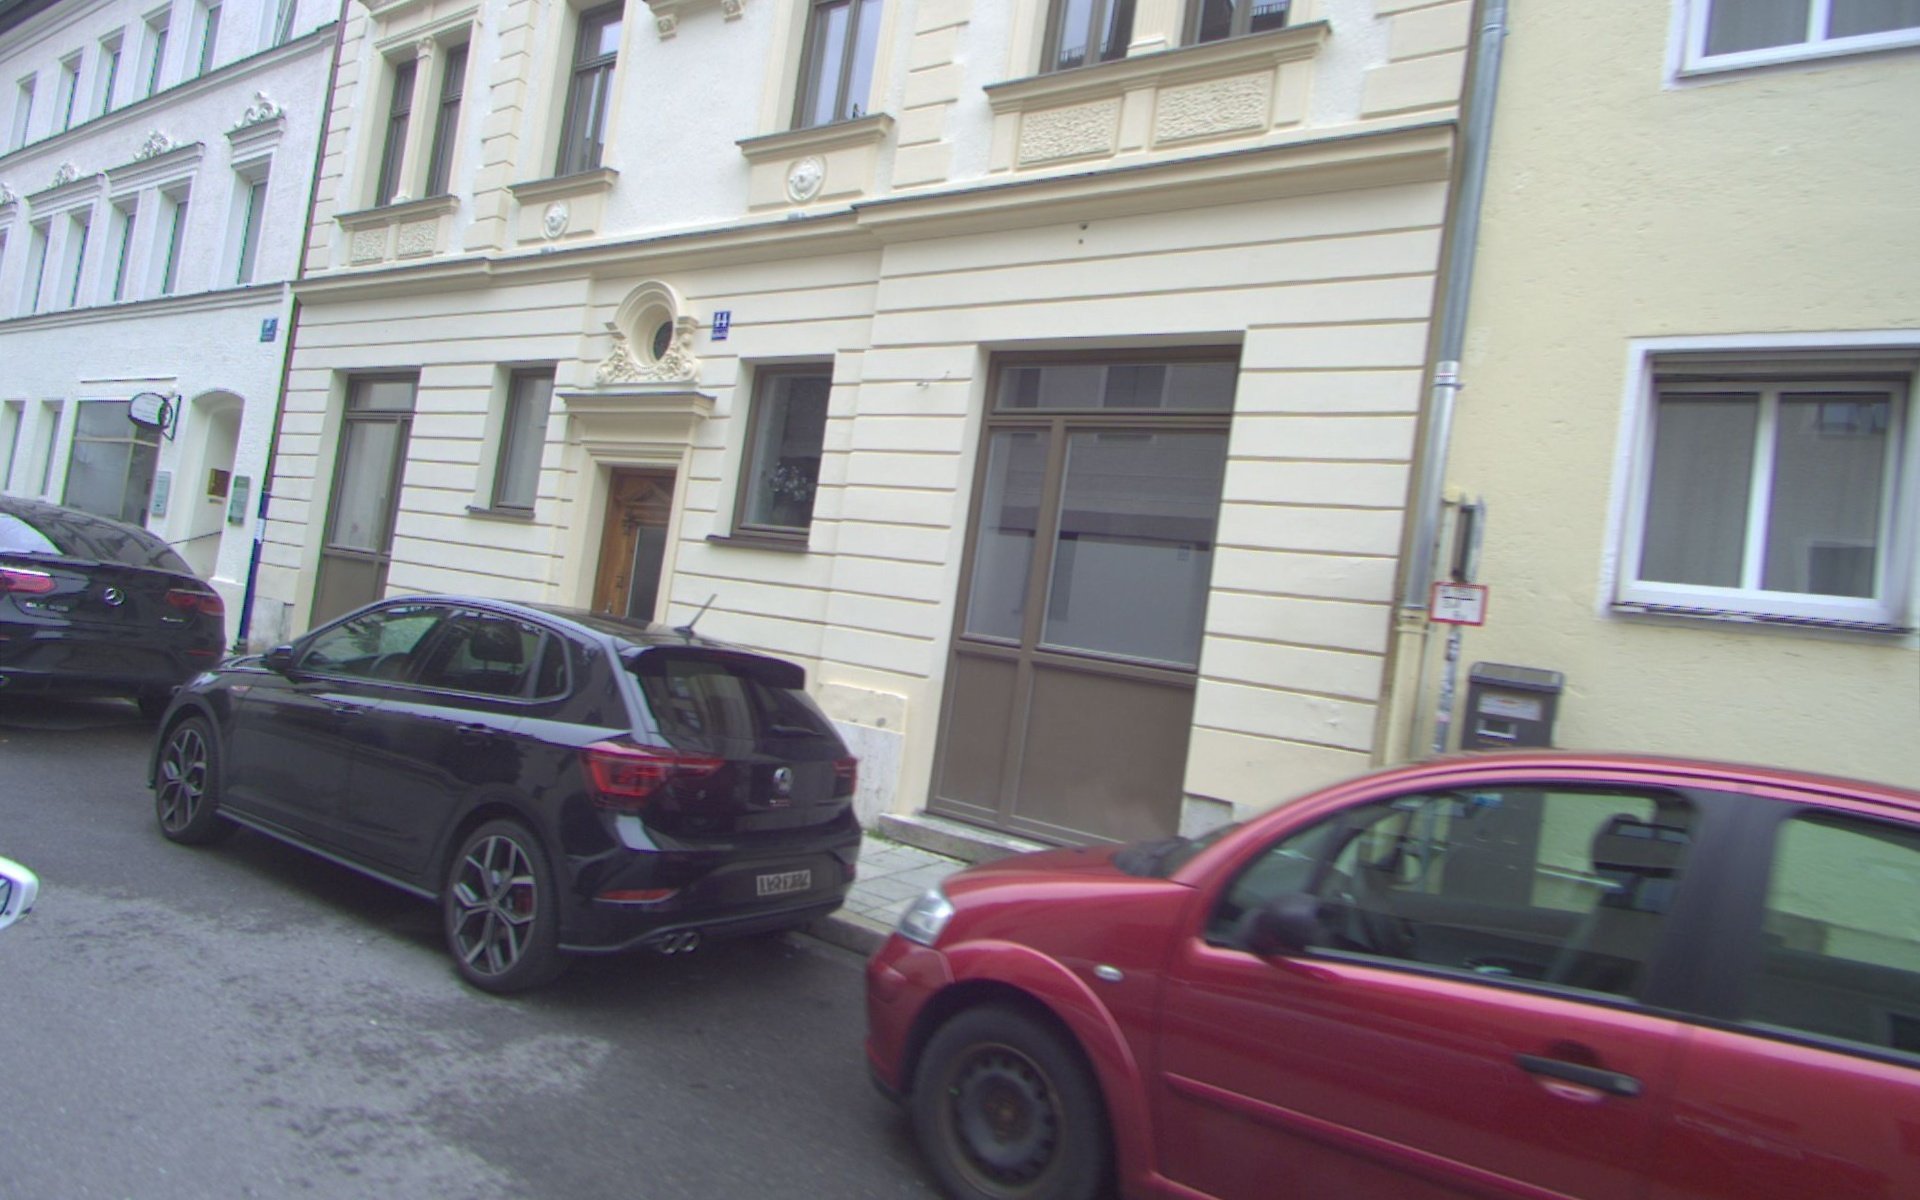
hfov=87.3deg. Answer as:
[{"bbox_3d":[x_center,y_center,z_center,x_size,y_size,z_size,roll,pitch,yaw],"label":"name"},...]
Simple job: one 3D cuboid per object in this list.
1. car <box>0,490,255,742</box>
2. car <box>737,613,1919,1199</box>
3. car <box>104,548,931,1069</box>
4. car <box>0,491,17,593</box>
[{"bbox_3d":[-7.903,-0.055,8.190,4.607,1.624,1.706,7,-3,32],"label":"car"},{"bbox_3d":[1.449,1.078,2.796,3.789,1.509,1.680,7,-3,32],"label":"car"},{"bbox_3d":[-2.345,0.718,5.030,3.998,1.408,1.680,7,-3,32],"label":"car"},{"bbox_3d":[-12.548,-0.637,11.241,4.438,1.679,1.680,7,-3,32],"label":"car"}]
